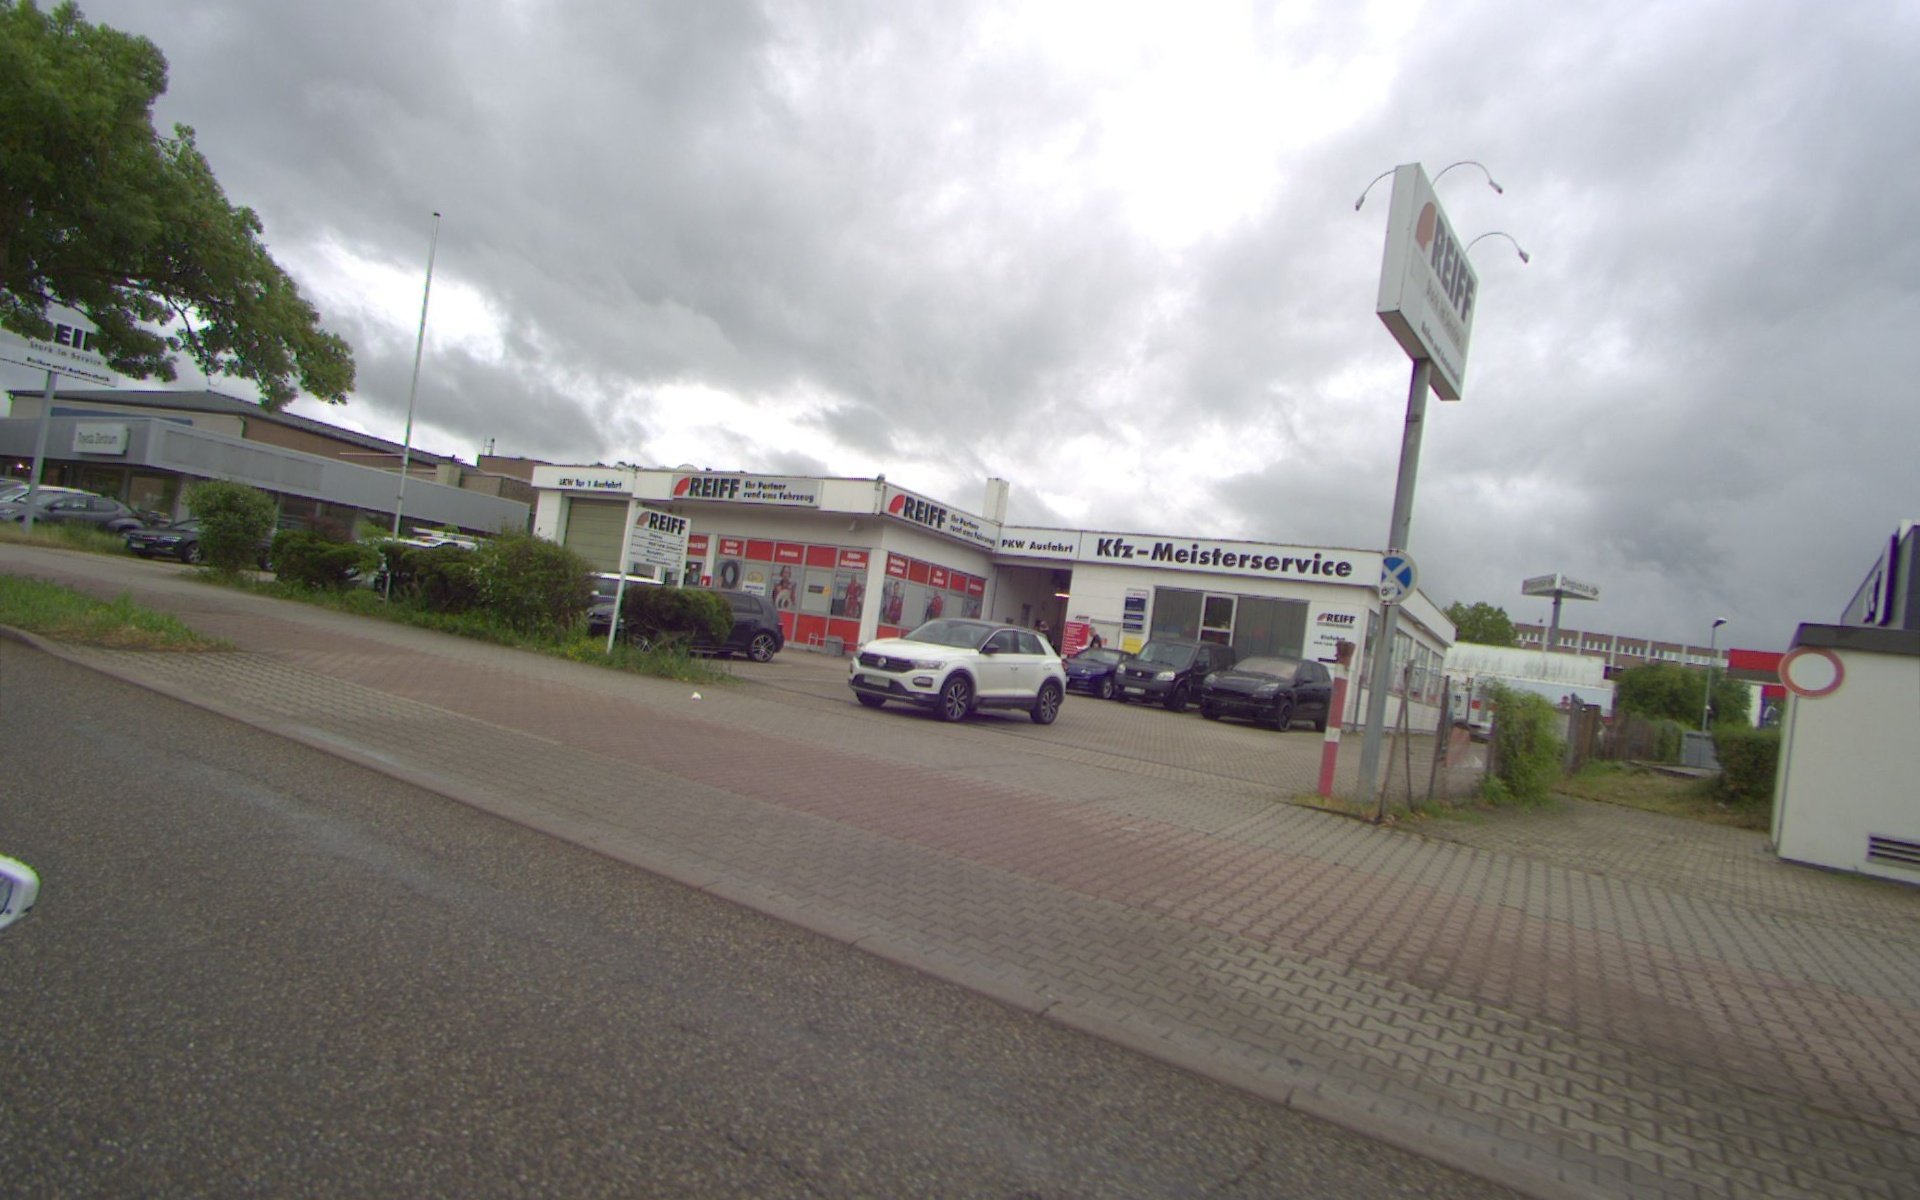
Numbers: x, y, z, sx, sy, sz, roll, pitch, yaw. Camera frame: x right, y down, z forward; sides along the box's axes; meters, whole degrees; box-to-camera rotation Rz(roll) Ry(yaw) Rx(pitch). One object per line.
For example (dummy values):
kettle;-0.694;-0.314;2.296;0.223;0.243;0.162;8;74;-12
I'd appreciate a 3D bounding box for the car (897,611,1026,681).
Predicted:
car;0.114;1.310;27.793;1.757;1.495;3.856;7;-3;30

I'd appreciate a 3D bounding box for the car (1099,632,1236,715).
car;5.265;1.873;25.167;1.925;1.699;3.993;7;-1;32

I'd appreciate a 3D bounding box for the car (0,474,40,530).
car;-34.009;-3.507;33.959;1.781;1.810;3.989;7;3;30

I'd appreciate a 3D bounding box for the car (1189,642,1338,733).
car;7.160;2.086;23.470;1.927;1.699;3.989;7;-2;37

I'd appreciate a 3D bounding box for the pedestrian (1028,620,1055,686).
pedestrian;2.184;1.423;27.052;0.506;1.725;0.439;7;-1;4

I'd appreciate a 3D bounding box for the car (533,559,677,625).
car;-11.554;-0.222;33.028;1.950;1.520;4.066;7;-2;29

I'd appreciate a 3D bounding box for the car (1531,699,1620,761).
car;19.770;4.159;32.241;1.875;1.619;3.858;6;-2;39

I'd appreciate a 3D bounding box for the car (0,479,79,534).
car;-32.050;-3.226;33.263;1.781;1.606;3.989;7;2;30

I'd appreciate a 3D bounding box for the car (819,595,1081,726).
car;-0.011;1.027;15.848;1.861;1.570;4.177;7;-2;37

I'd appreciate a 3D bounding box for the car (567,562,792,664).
car;-5.591;0.315;20.400;1.695;1.540;3.981;7;-1;43

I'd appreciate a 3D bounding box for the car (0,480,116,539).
car;-29.971;-2.965;32.312;1.781;1.564;3.989;7;2;30

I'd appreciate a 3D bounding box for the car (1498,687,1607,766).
car;16.096;3.411;27.229;1.875;1.721;4.164;6;-2;39

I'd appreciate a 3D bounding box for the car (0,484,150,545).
car;-27.781;-2.642;31.075;1.796;1.481;3.837;7;2;27

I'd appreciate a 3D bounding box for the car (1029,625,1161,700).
car;3.600;1.683;26.239;1.747;1.598;3.993;7;-1;32

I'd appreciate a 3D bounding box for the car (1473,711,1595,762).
car;27.231;6.457;47.790;4.787;1.615;1.838;6;-4;36

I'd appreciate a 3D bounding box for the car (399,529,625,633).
car;-9.958;-0.383;22.554;1.797;1.682;4.133;9;0;45

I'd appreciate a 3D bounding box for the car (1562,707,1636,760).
car;24.355;5.077;38.291;1.875;1.619;3.858;6;-2;39

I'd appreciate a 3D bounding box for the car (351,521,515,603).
car;-18.542;-1.277;35.642;1.931;2.174;4.666;7;-2;28

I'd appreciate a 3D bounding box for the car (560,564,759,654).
car;-6.799;0.239;23.038;1.709;1.541;3.922;7;-1;43

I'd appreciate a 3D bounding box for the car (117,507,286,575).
car;-23.339;-1.779;31.087;1.764;1.481;3.684;7;-1;32

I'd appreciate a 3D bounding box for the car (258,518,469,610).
car;-14.532;-0.864;24.608;4.041;1.616;1.962;9;-1;-42

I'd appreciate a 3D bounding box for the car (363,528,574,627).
car;-11.662;-0.503;23.995;4.124;1.682;1.801;9;0;-38

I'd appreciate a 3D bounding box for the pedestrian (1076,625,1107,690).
pedestrian;3.770;1.655;28.883;0.496;1.806;0.515;7;-1;35

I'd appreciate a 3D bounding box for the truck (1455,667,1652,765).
truck;29.620;5.763;50.556;8.032;3.565;2.279;7;-3;32

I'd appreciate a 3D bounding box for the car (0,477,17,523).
car;-36.278;-3.749;35.510;1.780;1.609;3.990;8;3;27

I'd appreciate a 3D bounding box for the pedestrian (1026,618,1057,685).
pedestrian;2.276;1.427;28.025;0.436;1.806;0.509;8;-1;-45
